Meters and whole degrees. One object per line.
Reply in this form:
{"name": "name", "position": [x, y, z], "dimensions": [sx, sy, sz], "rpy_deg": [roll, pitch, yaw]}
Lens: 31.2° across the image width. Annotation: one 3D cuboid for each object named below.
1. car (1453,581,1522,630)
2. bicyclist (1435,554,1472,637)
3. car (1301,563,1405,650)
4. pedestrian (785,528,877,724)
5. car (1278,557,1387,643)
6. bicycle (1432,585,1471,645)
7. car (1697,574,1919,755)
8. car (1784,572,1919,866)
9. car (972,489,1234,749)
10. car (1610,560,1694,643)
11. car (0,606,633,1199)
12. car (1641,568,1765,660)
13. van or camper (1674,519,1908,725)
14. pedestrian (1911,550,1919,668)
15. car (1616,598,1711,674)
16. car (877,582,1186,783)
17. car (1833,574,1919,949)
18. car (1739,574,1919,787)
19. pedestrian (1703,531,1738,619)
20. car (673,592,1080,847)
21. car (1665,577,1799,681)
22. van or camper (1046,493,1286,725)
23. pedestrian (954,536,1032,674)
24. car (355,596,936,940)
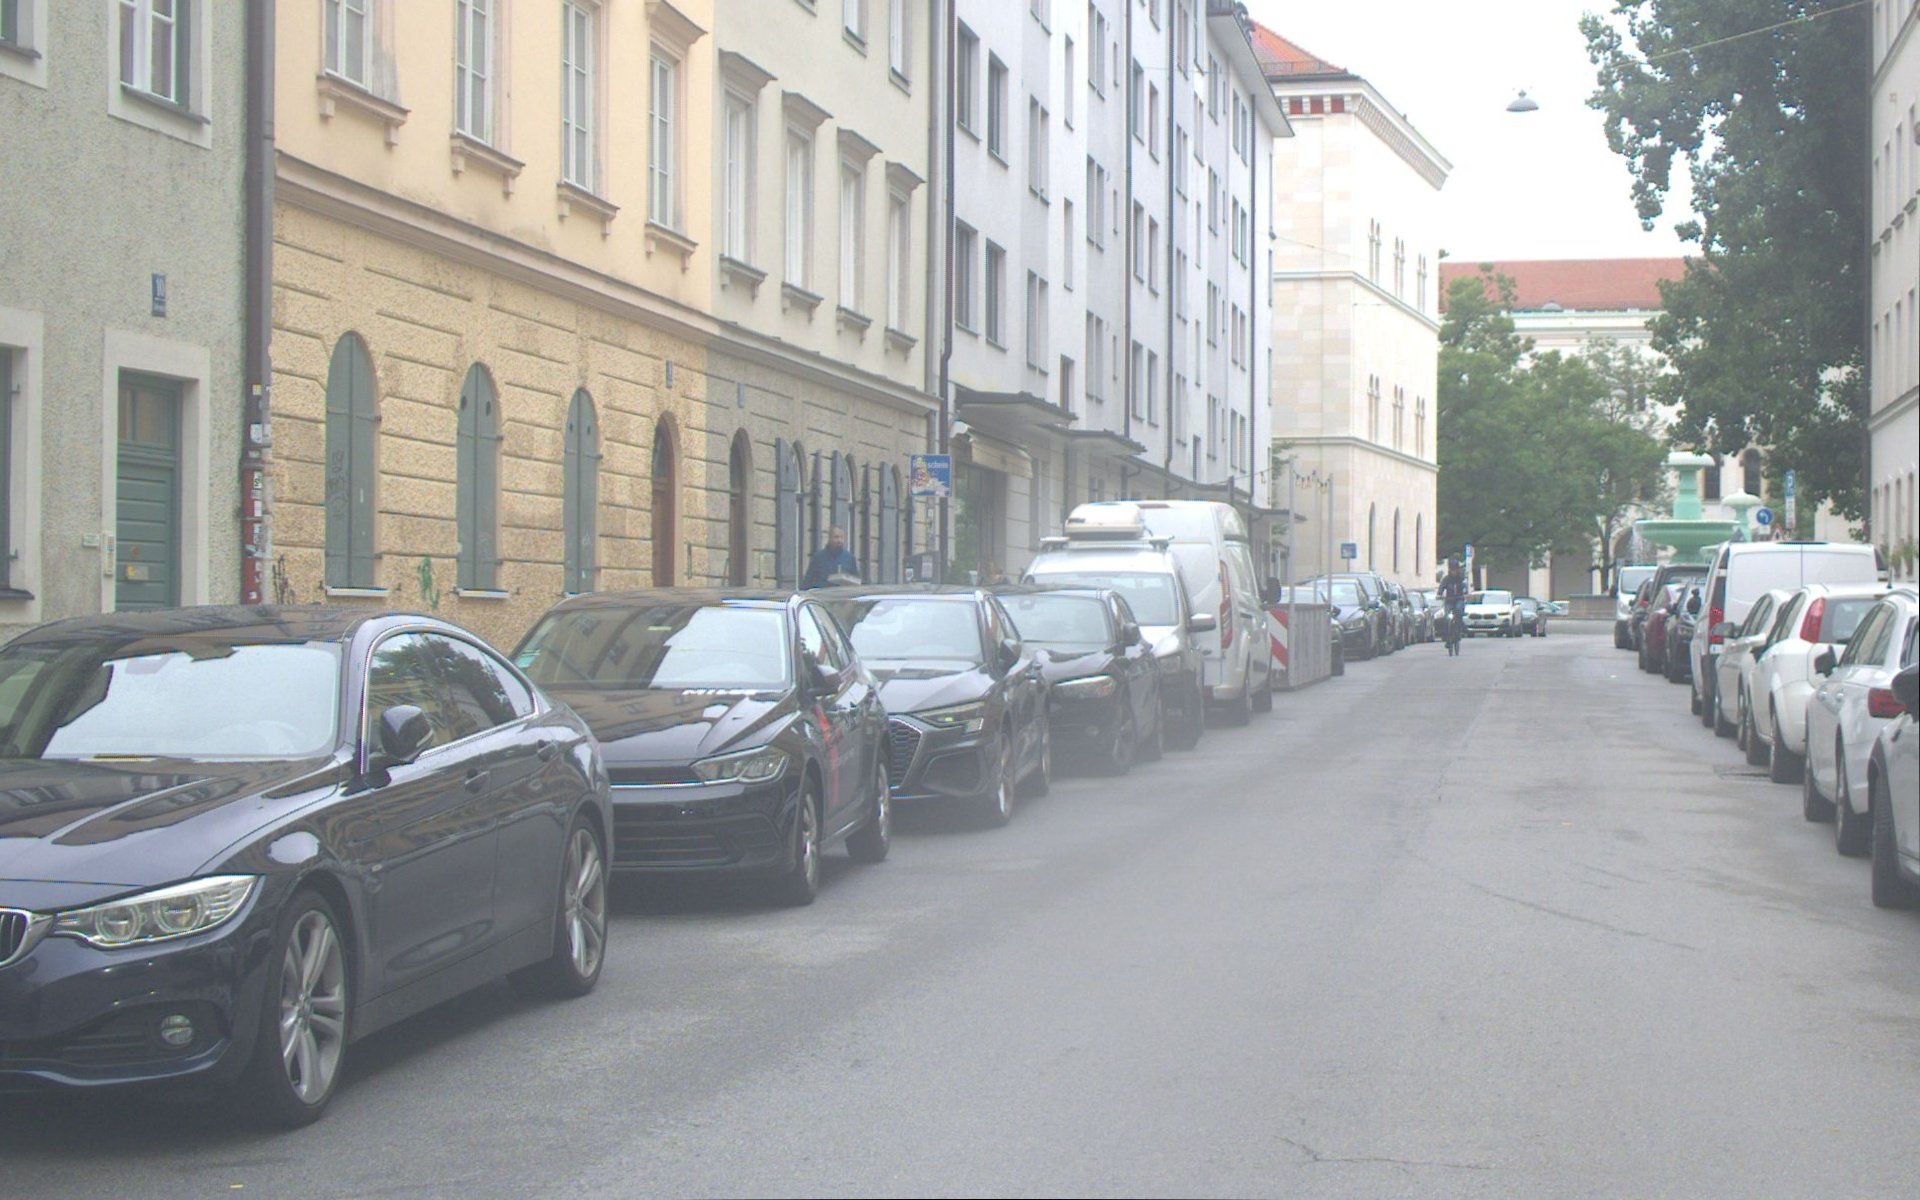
{"name": "car", "position": [17.194, 0.196, 111.977], "dimensions": [1.779, 1.529, 4.208], "rpy_deg": [-1, -1, 14]}
{"name": "bicyclist", "position": [9.715, -0.091, 67.659], "dimensions": [0.686, 1.622, 0.852], "rpy_deg": [1, 0, 9]}
{"name": "car", "position": [8.093, 0.106, 70.529], "dimensions": [1.873, 1.682, 4.518], "rpy_deg": [-1, 1, 9]}
{"name": "pedestrian", "position": [-1.332, 0.263, 35.600], "dimensions": [0.806, 2.007, 0.749], "rpy_deg": [0, 0, 11]}
{"name": "car", "position": [7.076, -0.023, 65.067], "dimensions": [1.774, 1.534, 4.157], "rpy_deg": [-1, 1, 9]}
{"name": "bicycle", "position": [9.668, 0.292, 67.583], "dimensions": [0.732, 1.147, 1.999], "rpy_deg": [0, 0, 9]}
{"name": "car", "position": [7.745, 0.524, 31.035], "dimensions": [1.816, 1.504, 4.586], "rpy_deg": [0, 0, 8]}
{"name": "car", "position": [5.747, 0.593, 19.727], "dimensions": [1.717, 1.504, 4.467], "rpy_deg": [0, 0, 10]}
{"name": "car", "position": [1.397, 0.138, 31.599], "dimensions": [1.858, 2.194, 4.559], "rpy_deg": [1, 1, 9]}
{"name": "car", "position": [16.614, 0.019, 82.399], "dimensions": [1.883, 1.918, 4.872], "rpy_deg": [0, 0, 12]}
{"name": "car", "position": [-2.434, 0.753, 10.597], "dimensions": [1.858, 1.397, 4.268], "rpy_deg": [1, 1, 8]}
{"name": "car", "position": [12.060, 0.213, 56.006], "dimensions": [1.714, 1.419, 4.456], "rpy_deg": [0, 0, 9]}
{"name": "van or camper", "position": [8.670, 0.190, 36.246], "dimensions": [1.994, 2.007, 5.231], "rpy_deg": [0, 1, 9]}
{"name": "pedestrian", "position": [13.566, 0.110, 47.539], "dimensions": [0.597, 1.633, 0.896], "rpy_deg": [-3, 0, 8]}
{"name": "car", "position": [15.594, 0.779, 76.367], "dimensions": [1.808, 1.595, 4.214], "rpy_deg": [1, 0, 8]}
{"name": "car", "position": [0.643, 0.575, 26.678], "dimensions": [1.858, 1.397, 4.268], "rpy_deg": [1, 1, 8]}
{"name": "car", "position": [4.772, 0.646, 14.240], "dimensions": [1.717, 1.504, 3.935], "rpy_deg": [0, 0, 6]}
{"name": "car", "position": [6.897, 0.558, 26.249], "dimensions": [1.624, 1.504, 3.760], "rpy_deg": [0, 0, 9]}
{"name": "pedestrian", "position": [18.994, -0.627, 85.882], "dimensions": [0.793, 2.190, 0.813], "rpy_deg": [1, 0, 10]}
{"name": "car", "position": [-0.413, 0.671, 21.724], "dimensions": [1.858, 1.397, 4.268], "rpy_deg": [1, 1, 8]}
{"name": "car", "position": [11.275, 0.390, 50.390], "dimensions": [1.746, 1.459, 3.998], "rpy_deg": [0, 0, 10]}
{"name": "van or camper", "position": [2.303, 0.069, 36.965], "dimensions": [1.994, 2.303, 5.476], "rpy_deg": [0, 0, 10]}
{"name": "pedestrian", "position": [0.422, 0.055, 43.274], "dimensions": [0.806, 1.706, 1.021], "rpy_deg": [0, 1, 11]}
{"name": "car", "position": [-1.367, 0.707, 16.765], "dimensions": [1.858, 1.397, 4.268], "rpy_deg": [1, 1, 8]}
